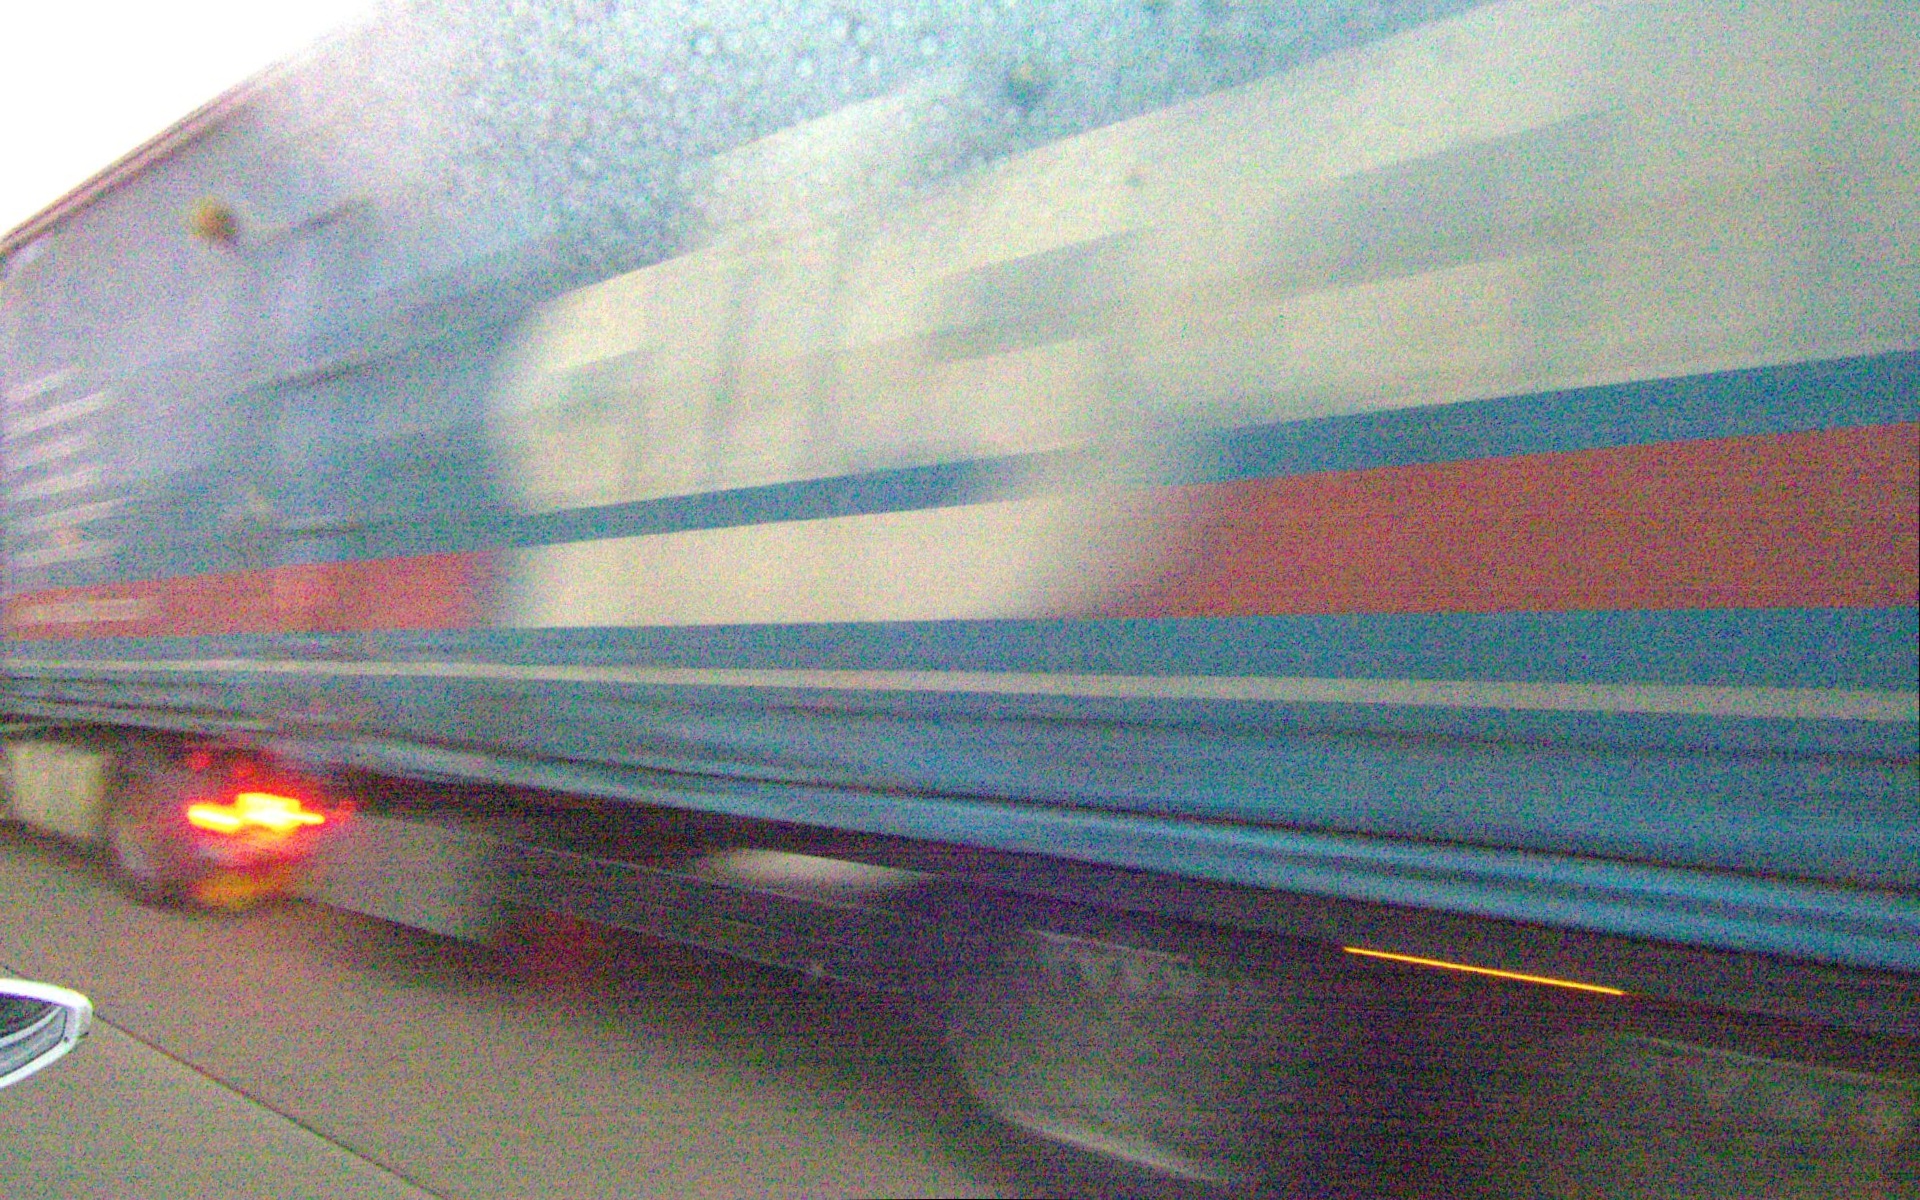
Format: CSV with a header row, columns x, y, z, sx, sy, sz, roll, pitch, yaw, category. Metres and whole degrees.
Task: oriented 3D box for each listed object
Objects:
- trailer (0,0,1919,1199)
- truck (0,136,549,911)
x,y,z,sx,sy,sz,roll,pitch,yaw,category
-0.211,-0.552,4.155,13.542,4.139,2.767,-1,-1,32,trailer
-6.240,-0.322,7.955,5.767,4.048,2.731,-1,-1,33,truck
